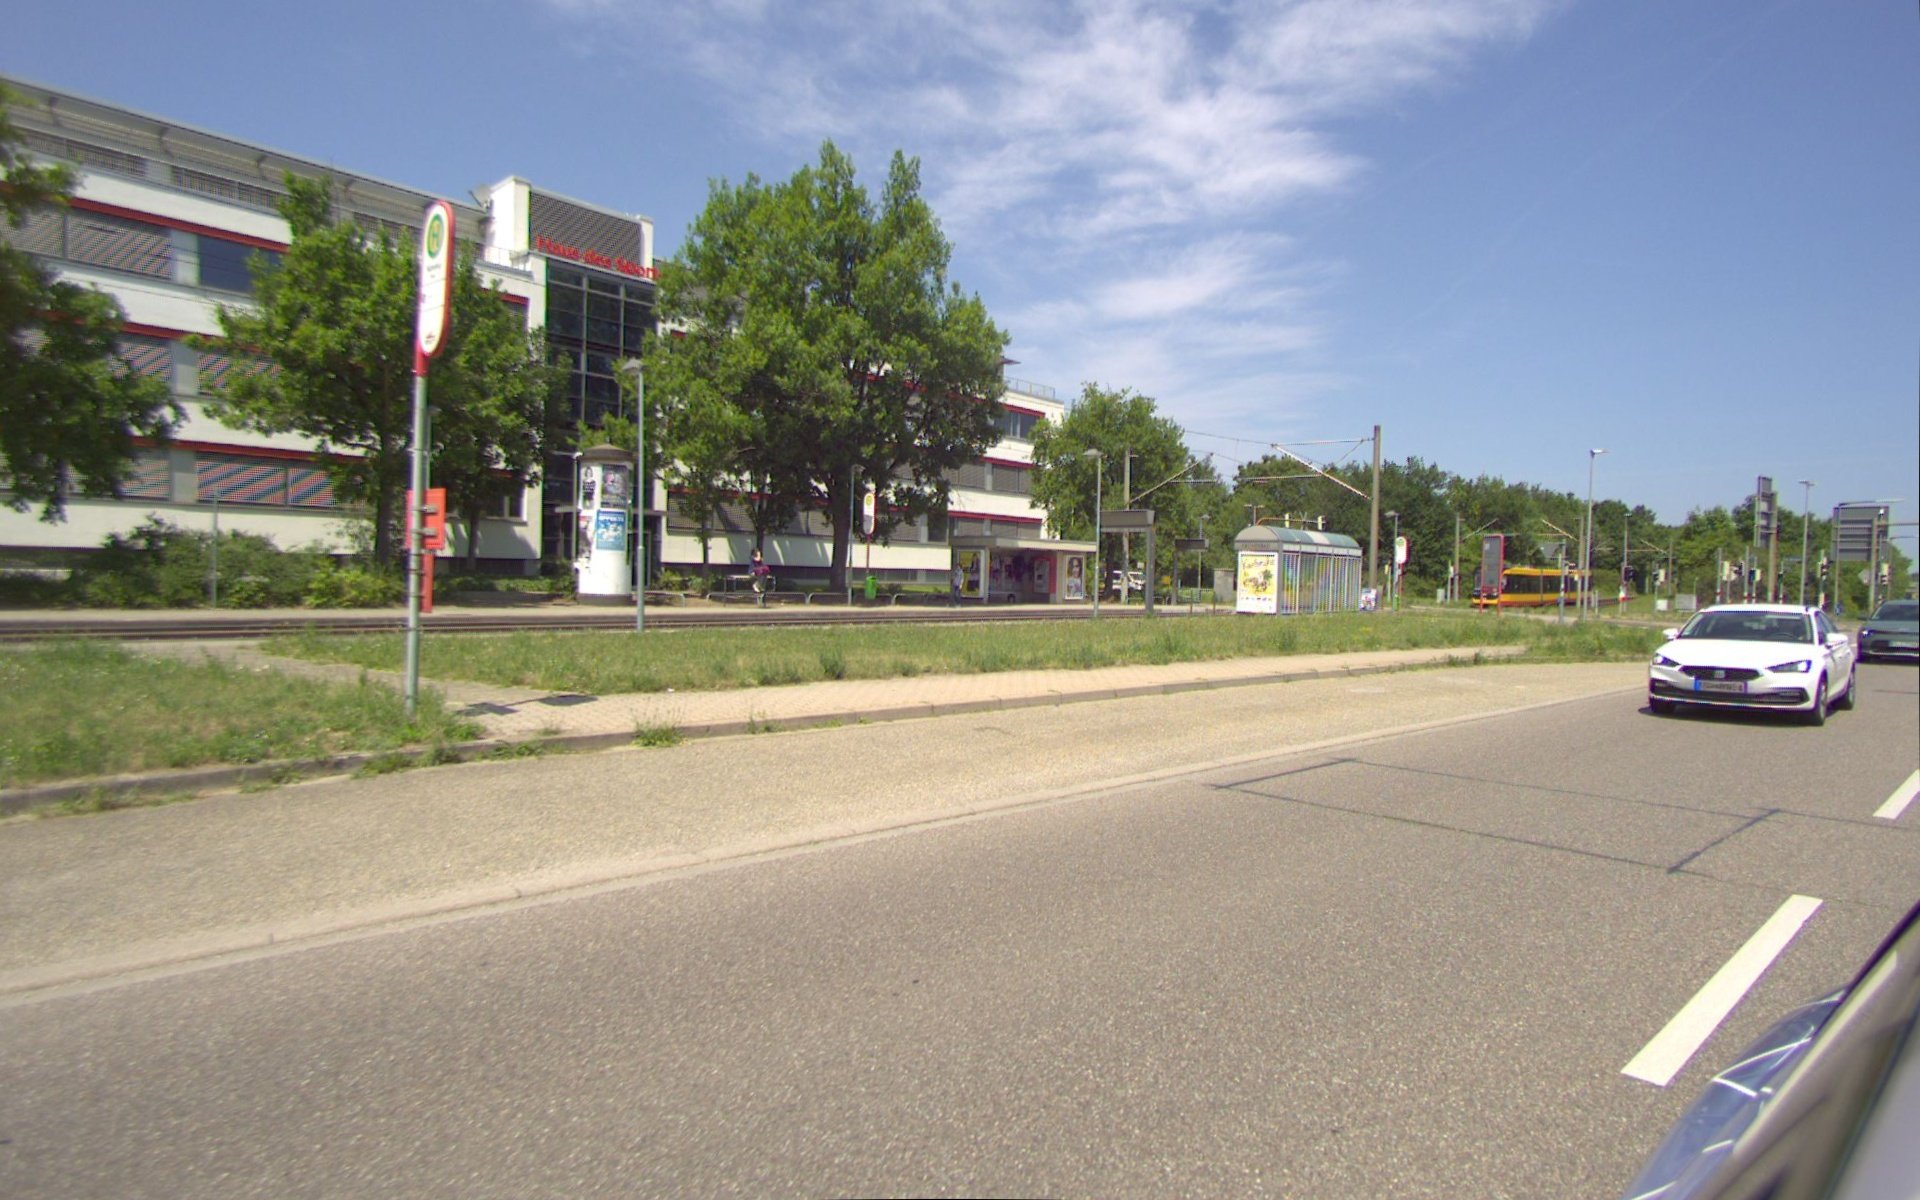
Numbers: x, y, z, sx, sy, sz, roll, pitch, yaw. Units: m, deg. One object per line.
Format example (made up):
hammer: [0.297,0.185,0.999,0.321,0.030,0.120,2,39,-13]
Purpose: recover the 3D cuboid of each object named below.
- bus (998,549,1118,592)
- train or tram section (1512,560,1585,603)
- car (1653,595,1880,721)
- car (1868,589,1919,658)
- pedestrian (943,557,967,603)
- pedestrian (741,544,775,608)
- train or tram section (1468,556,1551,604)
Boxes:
bus: [7.526,-2.364,80.542,2.784,3.158,12.089,-1,2,-32]
train or tram section: [52.988,-1.611,90.867,2.814,3.626,12.304,2,2,43]
car: [11.001,0.658,13.686,4.374,1.407,1.685,0,2,-42]
car: [24.149,0.573,25.239,3.930,1.616,1.722,0,2,-41]
pedestrian: [-0.176,-0.731,36.360,0.678,1.628,0.553,-1,1,-41]
pedestrian: [-5.916,-0.698,29.661,0.691,1.865,0.703,0,1,33]
train or tram section: [44.593,-1.584,81.845,2.814,3.626,12.306,2,2,43]
